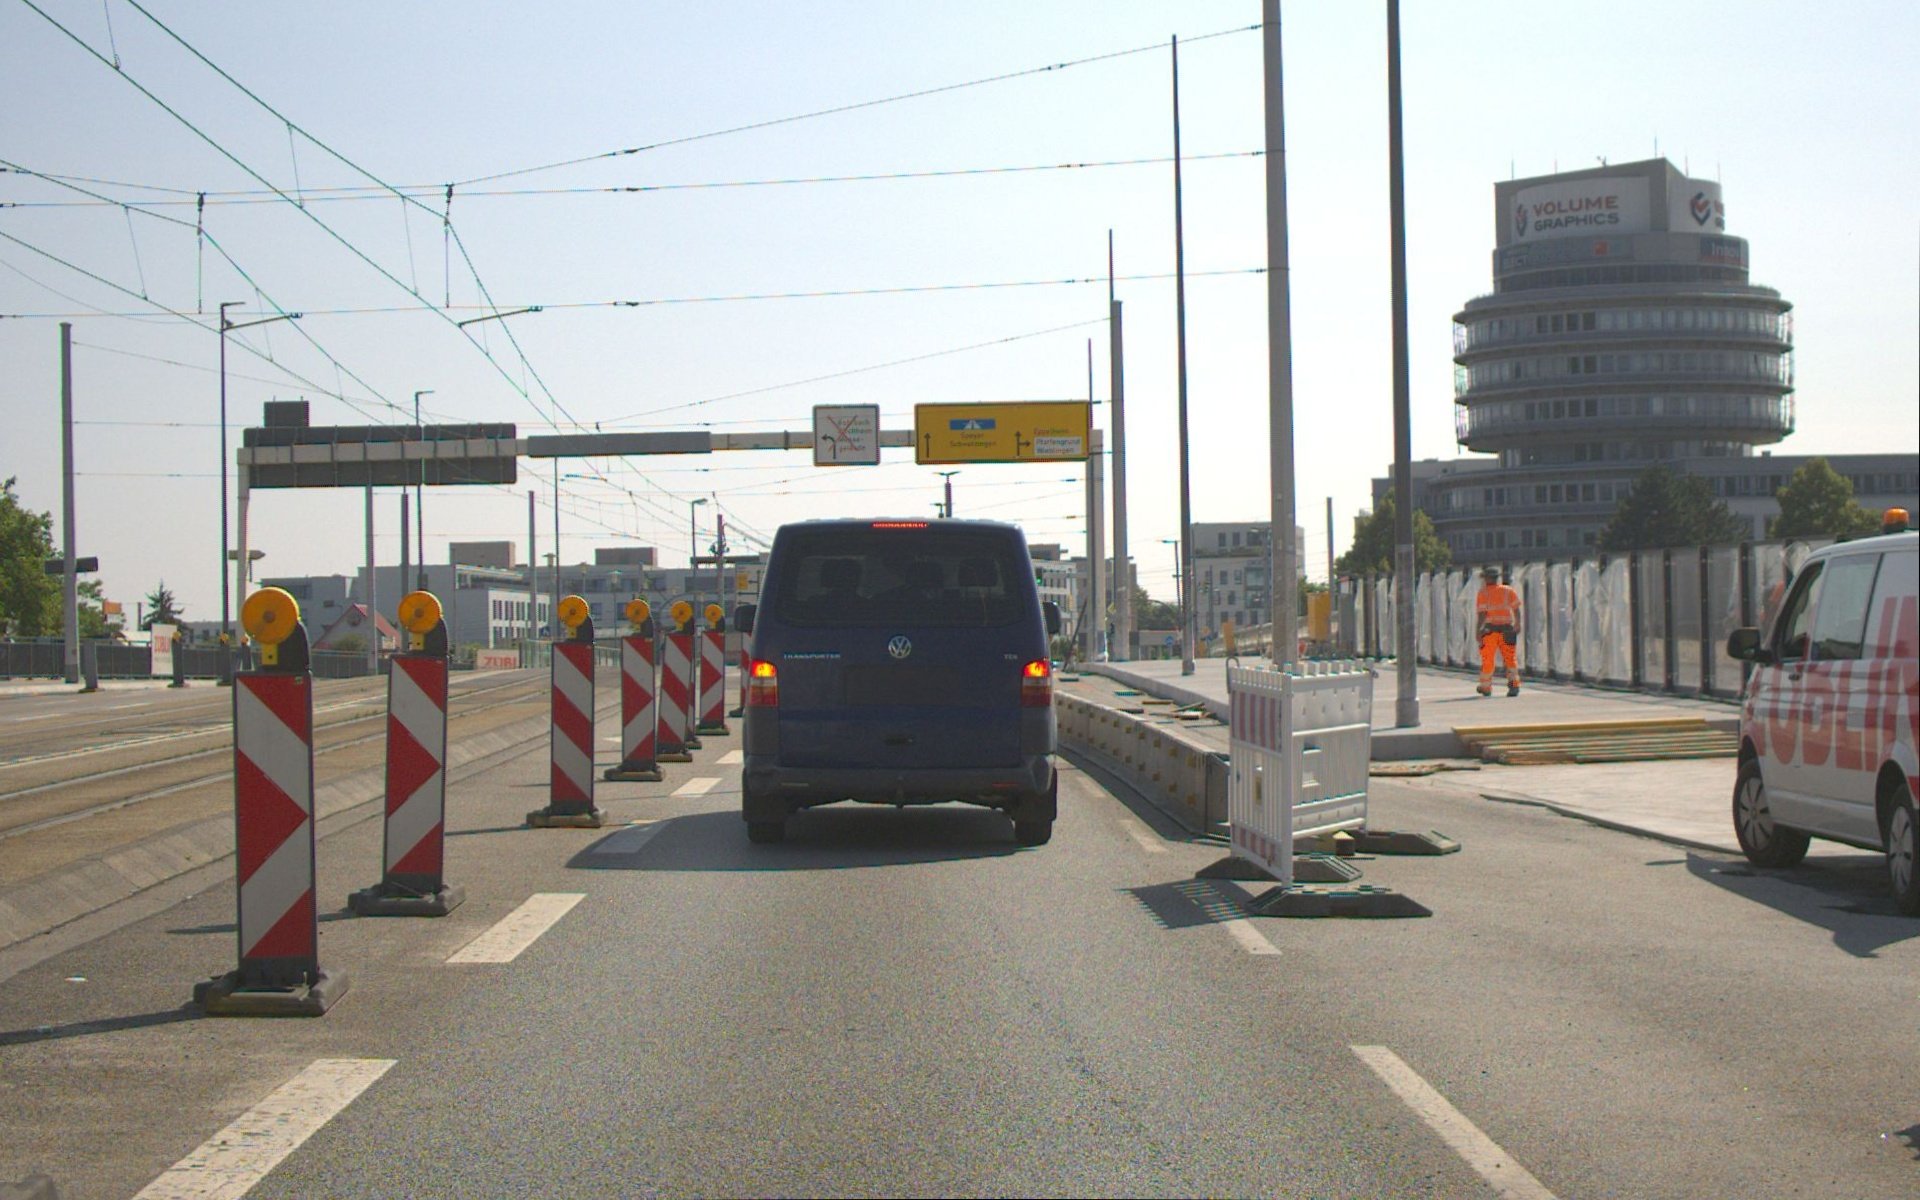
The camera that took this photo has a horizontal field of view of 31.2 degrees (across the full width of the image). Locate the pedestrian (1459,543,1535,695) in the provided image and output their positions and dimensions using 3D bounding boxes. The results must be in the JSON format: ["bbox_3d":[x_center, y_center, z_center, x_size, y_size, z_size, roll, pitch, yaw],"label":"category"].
[{"bbox_3d":[6.976,0.244,44.666,0.782,1.928,0.799,-2,-1,-1],"label":"pedestrian"}]

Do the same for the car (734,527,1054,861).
[{"bbox_3d":[-0.404,0.525,21.821,1.815,1.899,4.054,-1,0,-1],"label":"car"}]

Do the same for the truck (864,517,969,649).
[{"bbox_3d":[-1.116,-0.458,87.704,2.460,3.124,11.216,-1,1,-1],"label":"truck"}]

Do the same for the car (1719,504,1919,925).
[{"bbox_3d":[5.577,0.567,18.655,1.878,2.026,4.891,0,0,1],"label":"car"}]
